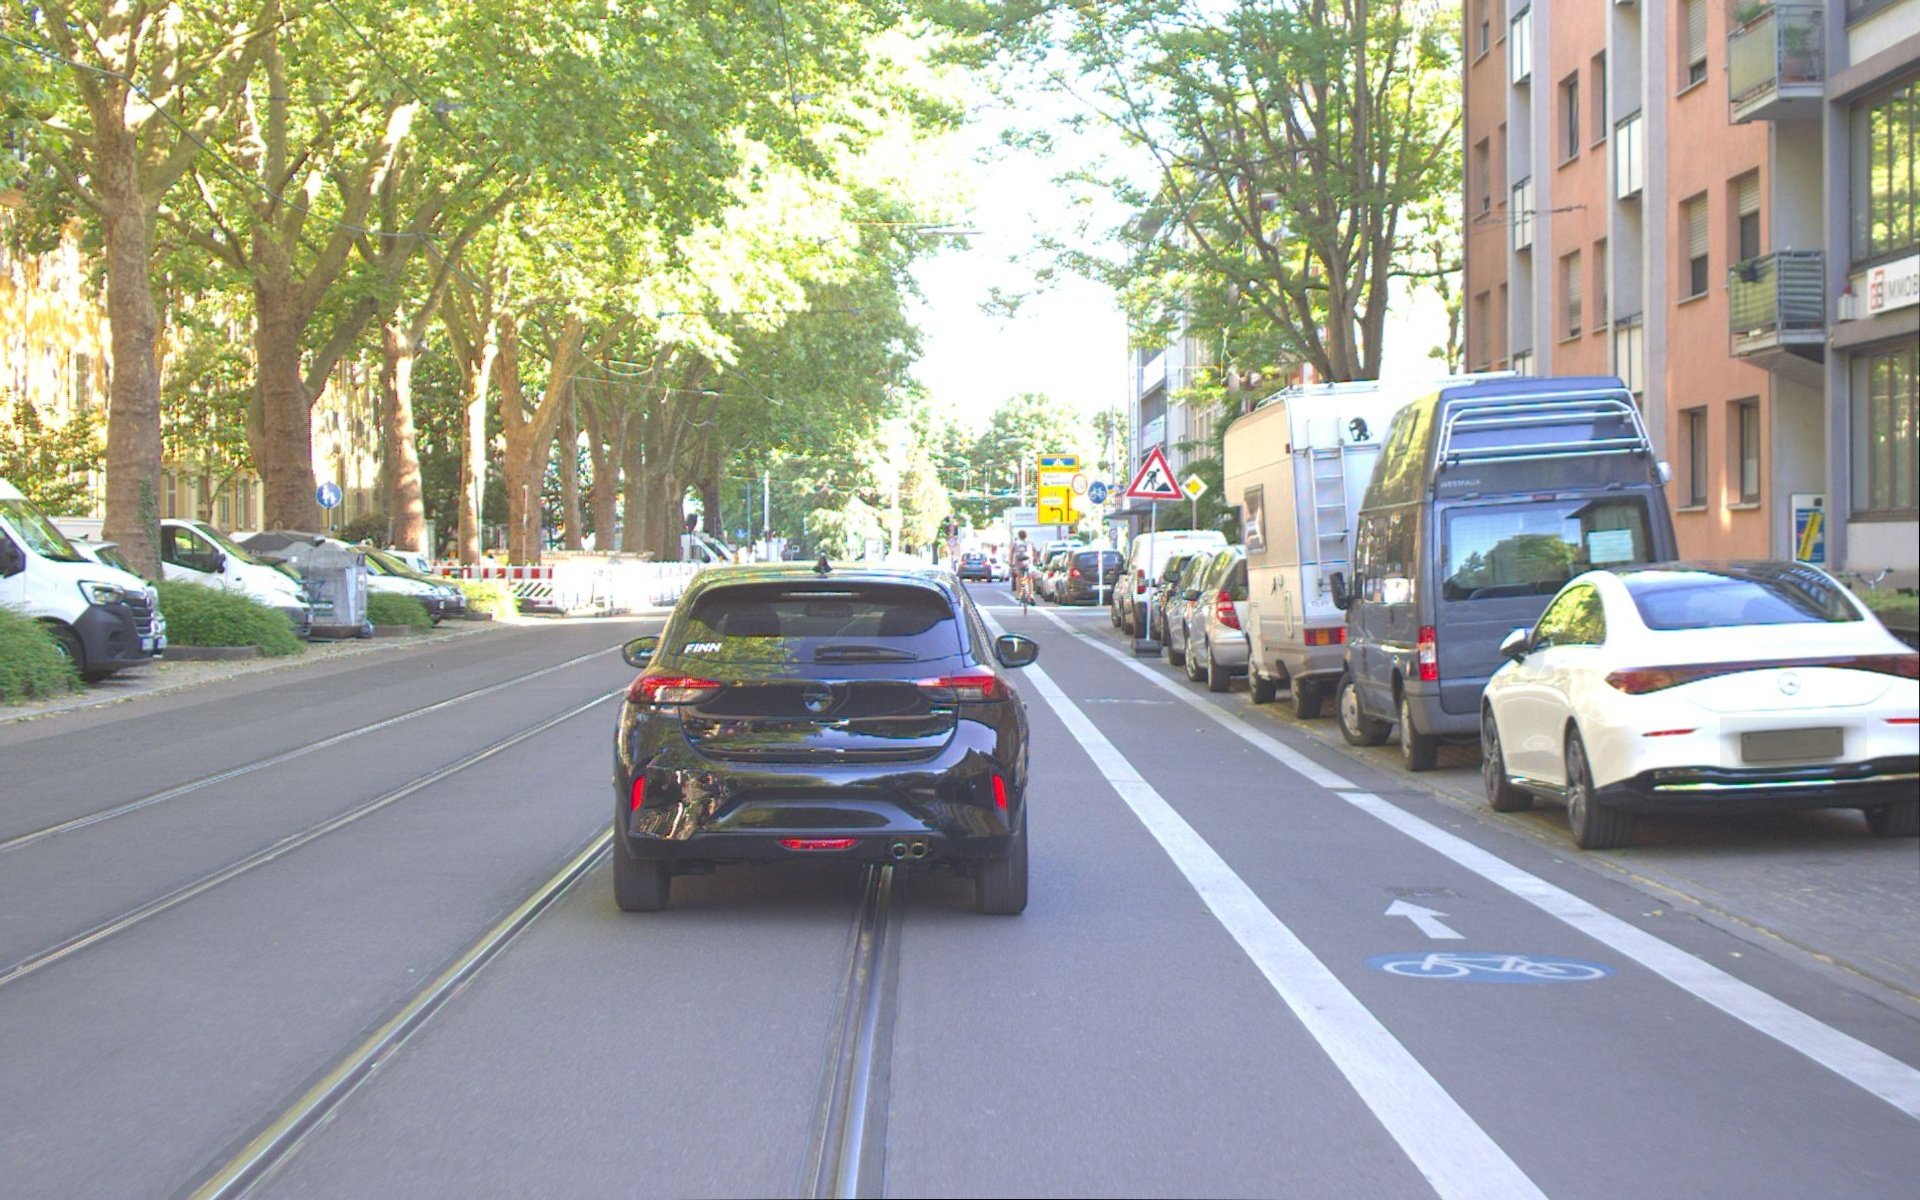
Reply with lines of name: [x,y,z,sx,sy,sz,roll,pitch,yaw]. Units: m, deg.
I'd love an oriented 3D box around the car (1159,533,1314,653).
car: [3.913,-0.132,49.276,1.767,1.567,4.337,-2,1,-1]

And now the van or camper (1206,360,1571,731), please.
van or camper: [3.863,-0.516,32.304,2.462,3.053,6.268,-2,1,-1]

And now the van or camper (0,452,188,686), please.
van or camper: [-11.573,-0.364,38.246,5.389,2.507,2.445,0,1,2]

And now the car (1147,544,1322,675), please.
car: [3.468,0.081,44.056,1.788,1.517,4.322,-2,1,-1]

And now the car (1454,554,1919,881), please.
car: [4.102,0.537,19.035,1.993,1.488,4.740,-2,1,0]

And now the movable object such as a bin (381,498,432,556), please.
movable object such as a bin: [-18.095,-2.378,112.355,1.333,1.862,2.008,1,0,0]

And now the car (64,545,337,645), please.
car: [-11.912,-0.094,54.093,3.847,1.492,1.862,-1,1,0]

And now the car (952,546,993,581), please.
car: [0.618,-1.879,176.667,1.993,1.690,4.740,-2,1,-1]

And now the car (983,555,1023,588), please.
car: [2.319,-1.541,185.449,1.993,1.690,4.740,-2,1,-1]

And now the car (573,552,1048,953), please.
car: [-0.589,0.548,14.933,1.781,1.491,4.000,0,1,-1]

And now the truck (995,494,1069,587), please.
truck: [2.725,-2.250,131.486,2.538,3.327,7.195,-3,1,0]

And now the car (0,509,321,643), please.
car: [-11.932,-0.367,51.146,4.656,1.938,1.962,0,1,-6]

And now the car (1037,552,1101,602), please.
car: [3.246,-0.718,103.272,1.659,1.394,4.740,-2,1,-1]

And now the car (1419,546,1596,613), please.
car: [12.968,-0.496,81.500,3.913,1.477,1.562,0,4,-1]

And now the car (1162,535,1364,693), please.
car: [3.370,0.115,38.924,1.793,1.622,4.277,-2,1,-1]

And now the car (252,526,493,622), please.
car: [-10.993,-0.501,64.486,4.198,1.751,1.740,0,1,1]

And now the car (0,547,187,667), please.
car: [-12.254,0.089,44.969,3.847,1.492,1.862,-1,1,0]

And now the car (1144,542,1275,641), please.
car: [3.910,-0.165,54.355,1.705,1.468,4.168,-1,1,-1]

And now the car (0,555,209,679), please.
car: [-11.178,0.198,40.475,4.264,1.394,1.753,-1,1,0]

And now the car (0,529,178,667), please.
car: [-11.855,-0.025,42.644,3.847,1.657,1.862,-1,1,0]

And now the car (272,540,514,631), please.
car: [-10.977,-0.286,66.668,4.235,1.682,1.933,-1,1,7]

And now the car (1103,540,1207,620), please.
car: [3.729,-0.415,66.216,1.705,1.468,4.000,-1,1,-1]

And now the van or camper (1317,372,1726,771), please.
van or camper: [4.111,-0.238,26.075,2.132,2.654,4.980,-2,1,-1]

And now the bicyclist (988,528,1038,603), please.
bicyclist: [1.174,-0.761,76.134,1.089,1.641,1.400,0,1,0]

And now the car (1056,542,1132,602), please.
car: [3.484,-0.754,89.690,1.733,1.457,3.916,-2,1,-1]

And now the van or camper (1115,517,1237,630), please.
van or camper: [3.719,-0.491,59.926,1.755,1.858,4.831,-1,1,-1]

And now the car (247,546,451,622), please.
car: [-12.573,-0.337,70.855,3.847,1.492,1.862,-1,1,0]

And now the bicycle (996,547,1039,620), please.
bicycle: [1.262,-0.387,75.959,0.916,1.555,3.405,0,1,0]
